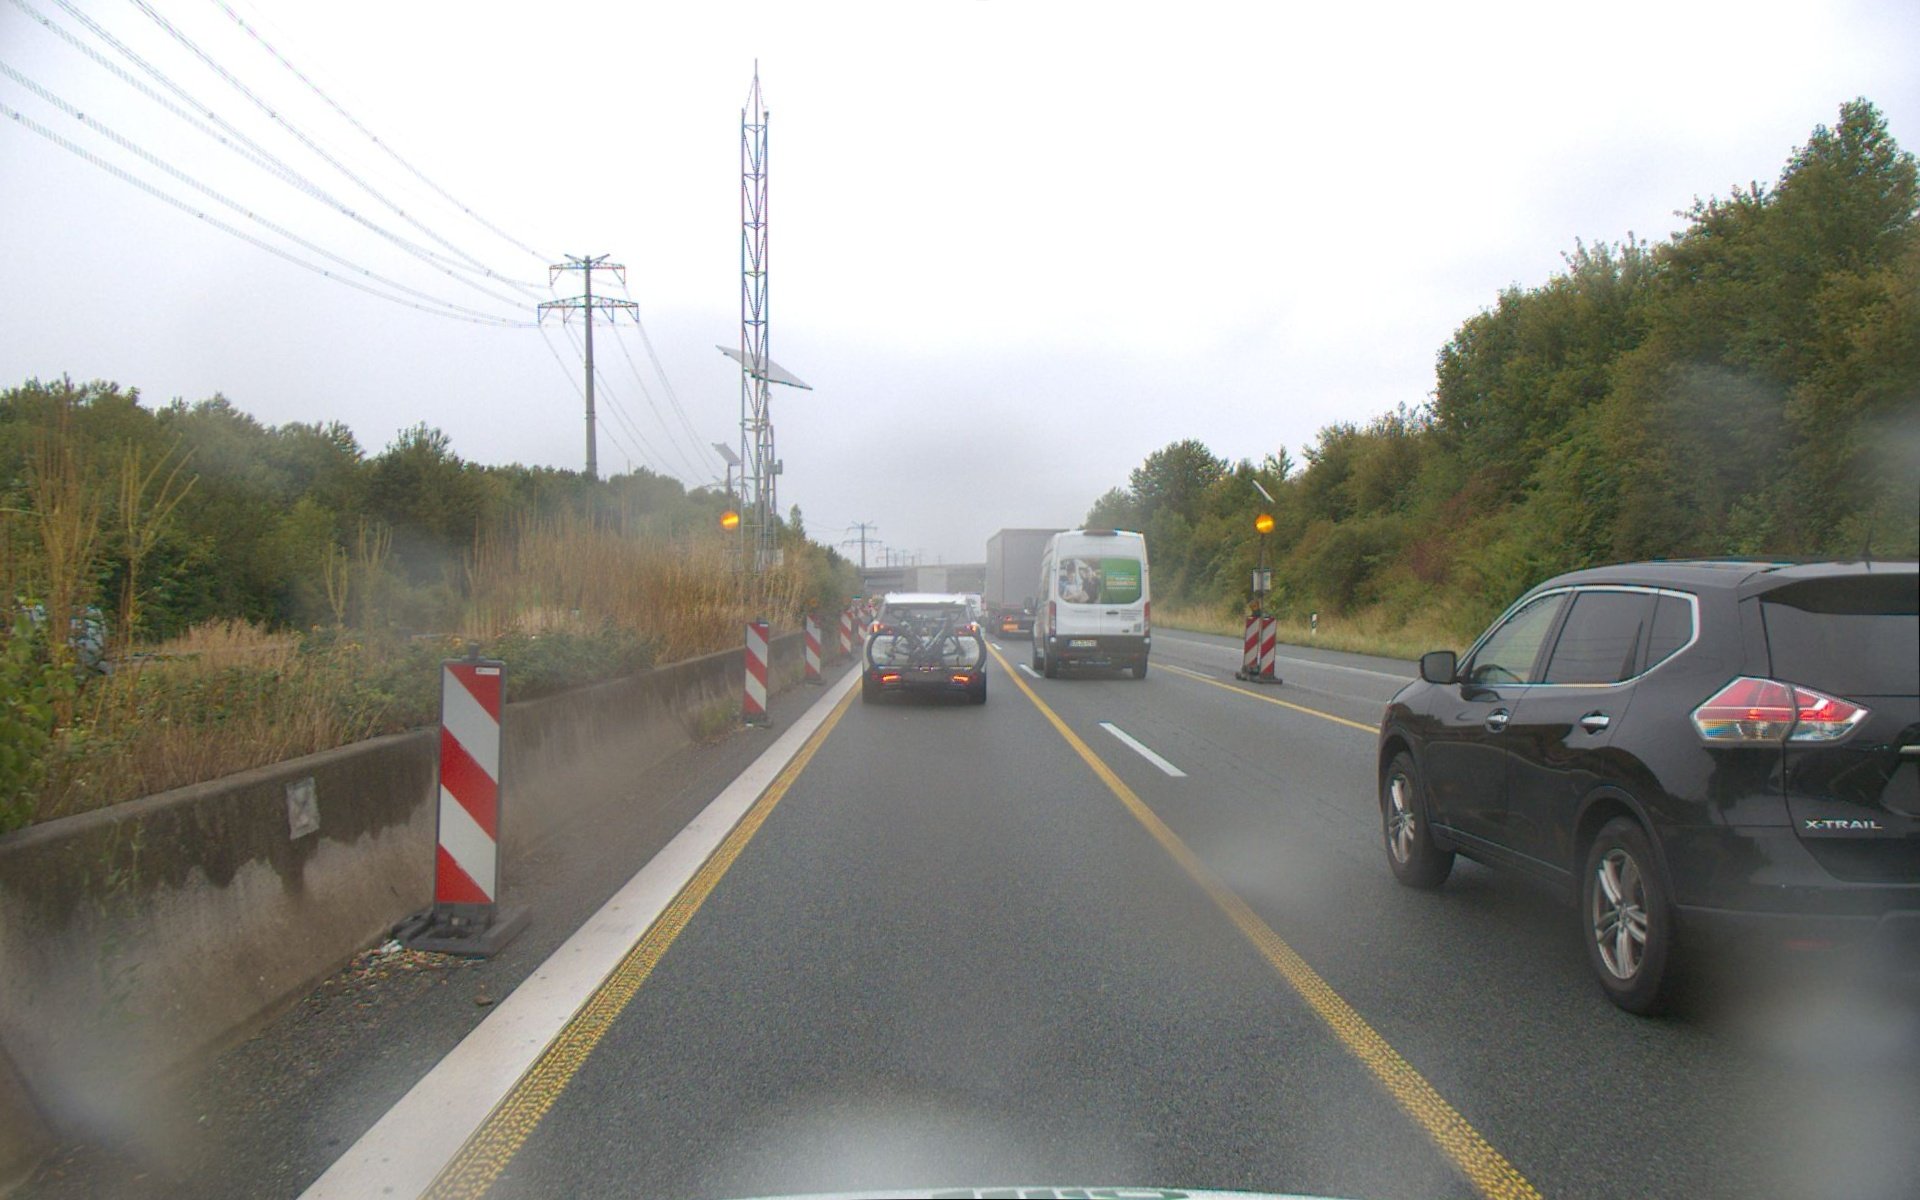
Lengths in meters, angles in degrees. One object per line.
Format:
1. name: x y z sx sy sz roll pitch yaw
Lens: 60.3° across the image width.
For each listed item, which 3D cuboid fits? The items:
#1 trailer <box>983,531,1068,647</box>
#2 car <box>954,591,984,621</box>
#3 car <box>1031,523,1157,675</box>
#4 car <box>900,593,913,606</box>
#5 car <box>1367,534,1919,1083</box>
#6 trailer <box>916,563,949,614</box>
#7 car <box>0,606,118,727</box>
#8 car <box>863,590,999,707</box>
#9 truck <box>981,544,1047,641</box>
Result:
1. trailer: 2.485 -0.399 66.834 2.651 4.219 13.728 0 0 -1
2. car: 0.540 0.371 103.617 1.792 1.871 4.654 0 0 -1
3. car: 2.617 -0.023 33.671 1.953 2.831 5.754 0 0 -1
4. car: -8.469 -0.096 262.381 1.892 2.008 3.999 0 1 -2
5. car: 3.227 0.639 7.272 1.651 1.687 4.278 0 0 -3
6. trailer: -2.379 -0.919 141.044 2.638 4.148 13.629 0 0 -1
7. car: -15.708 1.064 27.087 1.667 1.856 4.266 -2 0 -2
8. car: -0.441 0.646 24.391 1.813 1.557 4.767 0 0 -1
9. truck: 2.379 -0.314 74.478 2.651 4.211 5.689 0 0 -1
